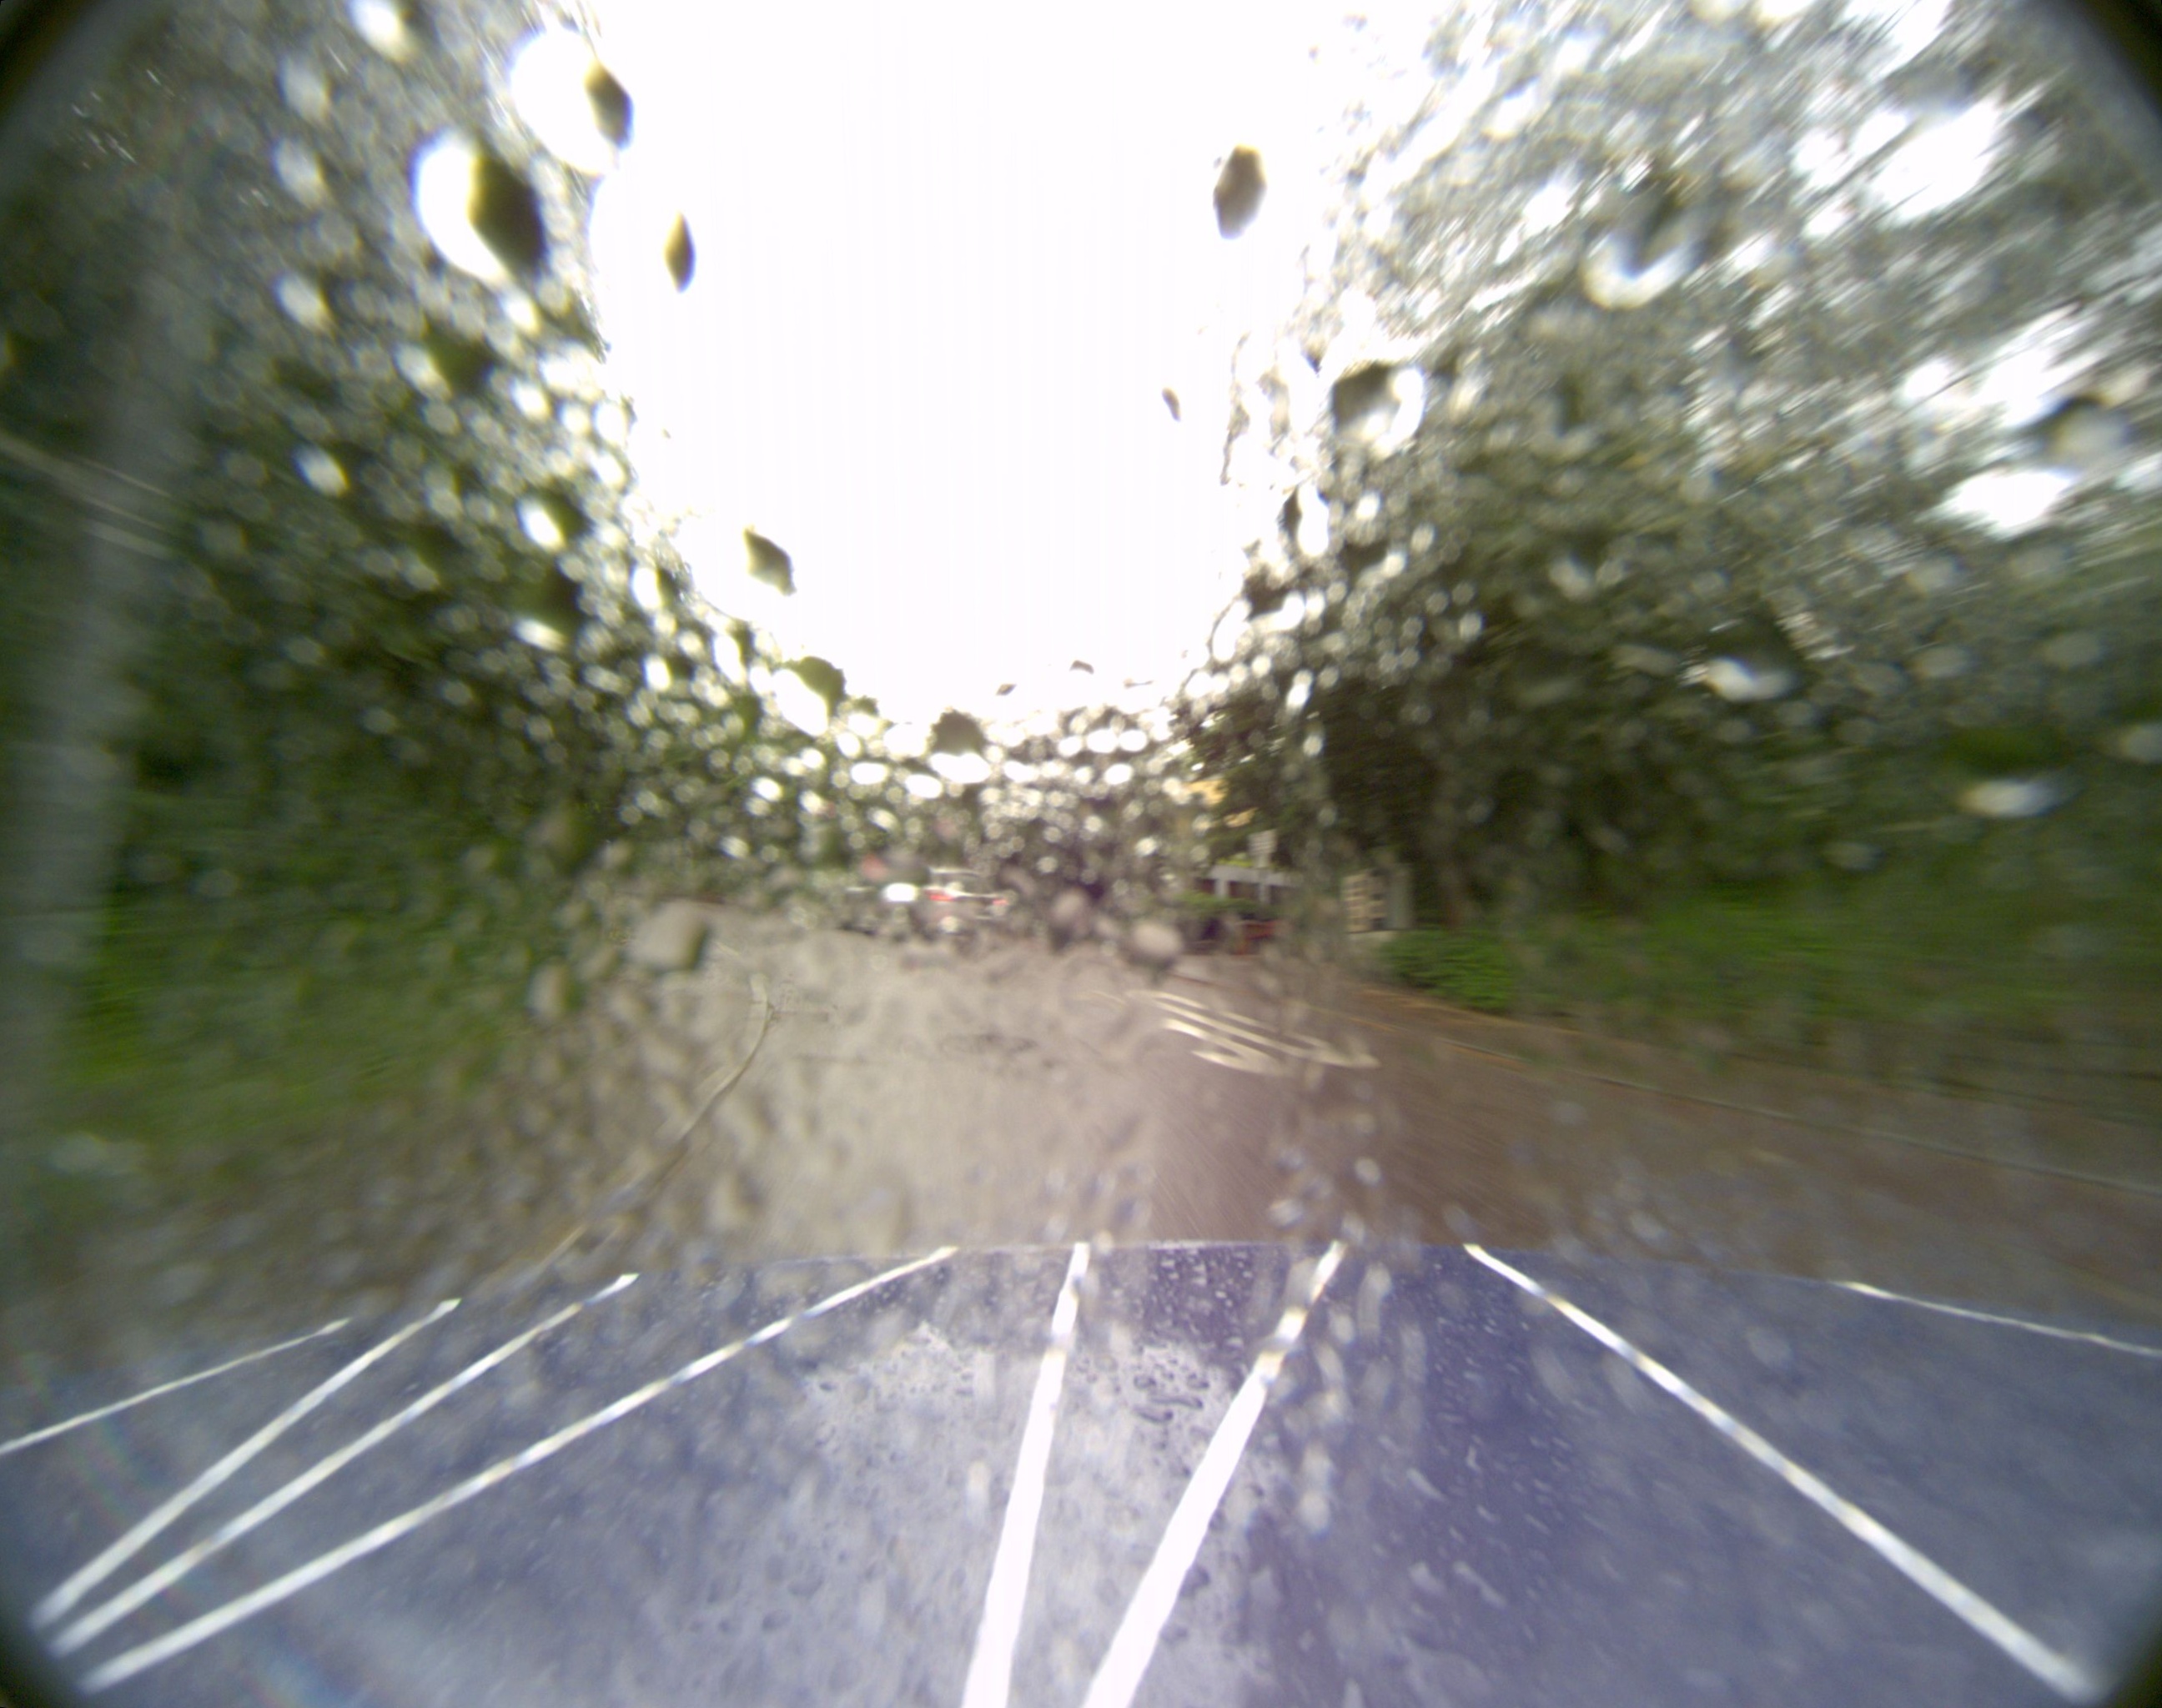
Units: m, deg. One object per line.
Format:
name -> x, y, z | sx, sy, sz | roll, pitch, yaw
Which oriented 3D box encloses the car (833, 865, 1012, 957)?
car -> -3.265, 1.004, 15.102 | 1.681, 1.528, 4.109 | -1, 0, -41
